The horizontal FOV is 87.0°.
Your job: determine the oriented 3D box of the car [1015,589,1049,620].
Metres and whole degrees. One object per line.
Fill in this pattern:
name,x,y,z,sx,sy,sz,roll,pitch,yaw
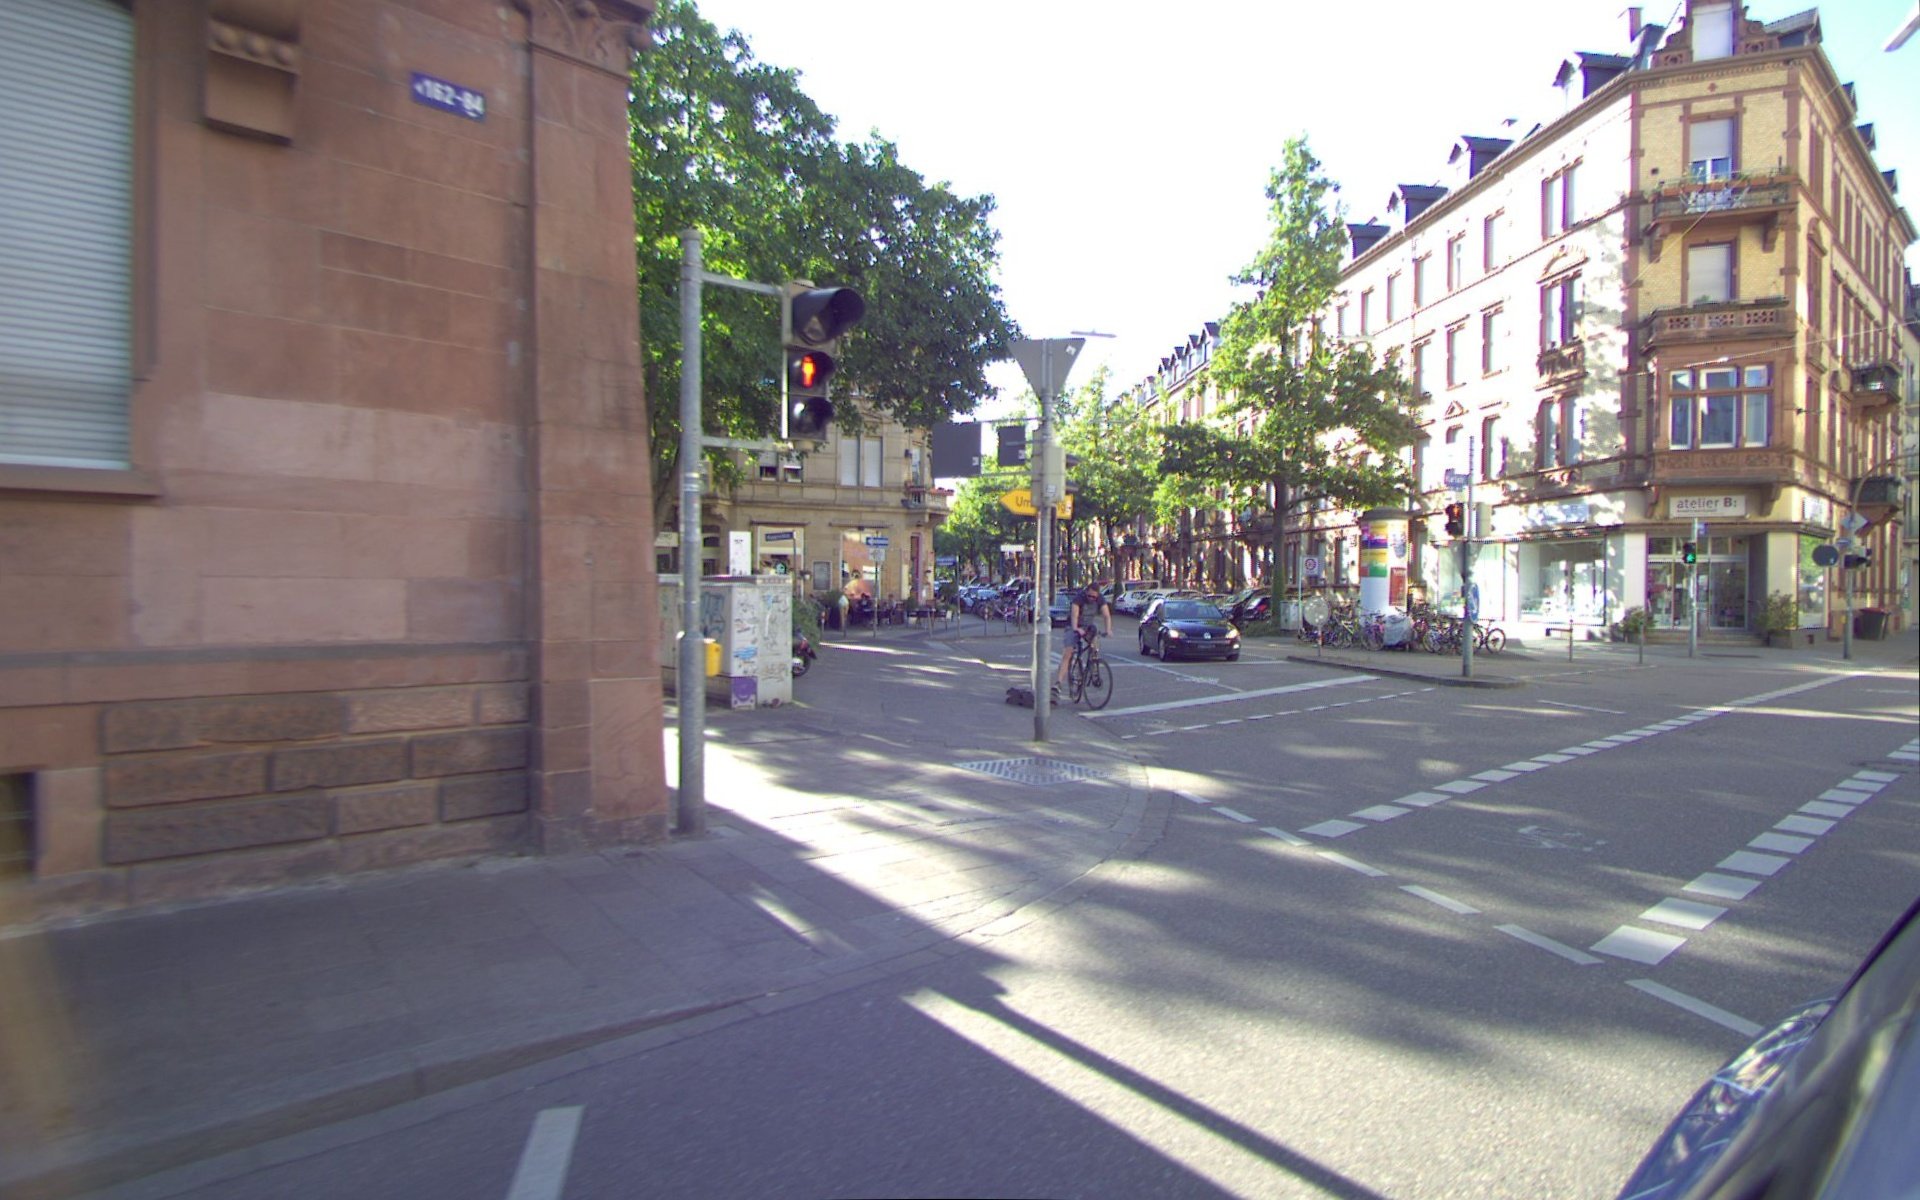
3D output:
car,3.967,0.237,56.283,1.812,1.625,4.247,1,1,3

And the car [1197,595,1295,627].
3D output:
car,12.785,0.495,45.345,3.917,1.374,1.554,1,1,-10

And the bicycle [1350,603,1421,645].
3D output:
bicycle,12.931,0.720,30.731,2.076,1.157,0.619,-2,1,-18

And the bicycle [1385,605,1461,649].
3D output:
bicycle,13.260,0.761,28.978,2.076,1.157,0.619,-2,1,-18

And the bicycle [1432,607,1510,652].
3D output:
bicycle,14.022,0.793,27.786,2.075,1.157,0.619,-1,1,-18

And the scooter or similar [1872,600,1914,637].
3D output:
scooter or similar,31.362,0.618,34.012,0.538,1.162,0.899,0,5,-42

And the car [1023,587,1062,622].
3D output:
car,4.121,0.180,50.928,1.812,1.625,4.247,0,1,3

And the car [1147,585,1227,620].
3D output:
car,11.903,0.140,53.079,3.784,1.779,1.523,1,1,-10

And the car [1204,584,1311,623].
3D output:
car,12.597,0.134,42.963,3.917,1.621,1.829,0,0,-10

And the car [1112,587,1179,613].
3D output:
car,11.128,-0.001,60.759,3.608,1.544,1.554,0,1,-9

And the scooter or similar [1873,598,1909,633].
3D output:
scooter or similar,33.537,0.545,36.455,0.776,1.162,0.792,0,5,-42

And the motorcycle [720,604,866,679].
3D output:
motorcycle,-2.711,0.682,16.674,2.348,1.139,0.612,3,1,-42

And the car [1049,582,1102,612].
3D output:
car,6.491,-0.204,57.380,1.807,1.625,4.258,-1,1,-10

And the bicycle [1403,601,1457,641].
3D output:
bicycle,14.697,0.654,31.635,1.583,1.157,0.545,-2,1,-18

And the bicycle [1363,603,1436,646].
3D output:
bicycle,13.099,0.709,30.156,2.076,1.157,0.619,-2,1,-18

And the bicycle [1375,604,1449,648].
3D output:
bicycle,13.174,0.755,29.524,2.076,1.157,0.619,-2,1,-18

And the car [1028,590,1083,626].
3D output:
car,4.243,0.319,45.606,1.809,1.517,4.254,-1,1,-4

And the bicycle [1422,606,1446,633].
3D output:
bicycle,18.332,0.740,39.142,0.389,1.016,1.000,0,1,-5

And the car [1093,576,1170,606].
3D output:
car,10.880,-0.587,64.325,4.577,1.855,1.553,1,0,-5

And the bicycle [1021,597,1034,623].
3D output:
bicycle,2.868,0.401,43.356,0.390,1.056,1.879,1,1,-1

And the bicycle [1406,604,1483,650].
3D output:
bicycle,13.527,0.747,28.273,2.076,1.157,0.619,-2,1,-18

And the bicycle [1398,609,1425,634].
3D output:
bicycle,18.199,0.857,40.823,0.389,0.969,1.288,1,0,-5

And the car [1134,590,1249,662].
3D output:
car,5.390,0.534,24.079,1.811,1.517,4.249,0,1,1

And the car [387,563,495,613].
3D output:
car,-22.152,-0.495,43.345,1.619,1.886,3.968,2,-1,22

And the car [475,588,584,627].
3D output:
car,-17.349,0.258,41.002,1.619,1.450,4.147,1,1,22

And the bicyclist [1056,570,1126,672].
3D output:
bicyclist,1.819,0.275,14.224,0.822,1.360,1.135,1,1,0

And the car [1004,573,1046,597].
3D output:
car,6.489,-1.482,101.221,3.919,2.351,1.553,1,0,-6

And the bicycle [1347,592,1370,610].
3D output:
bicycle,17.913,0.033,45.541,0.389,0.808,1.347,0,1,-5

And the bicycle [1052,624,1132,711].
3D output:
bicycle,1.823,0.912,14.286,0.831,1.058,2.097,-1,0,0

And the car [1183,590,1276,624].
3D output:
car,12.713,0.323,47.773,3.917,1.544,1.554,1,1,-10

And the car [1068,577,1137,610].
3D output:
car,9.925,-0.485,70.529,4.381,2.230,1.850,0,0,-9

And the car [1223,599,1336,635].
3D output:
car,12.834,0.672,40.704,3.917,1.388,1.829,0,0,-10

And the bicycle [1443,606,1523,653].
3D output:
bicycle,14.124,0.779,27.327,2.076,1.157,0.619,-1,1,-18

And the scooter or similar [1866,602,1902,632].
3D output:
scooter or similar,32.556,0.583,35.660,0.669,0.968,0.792,0,5,-42
